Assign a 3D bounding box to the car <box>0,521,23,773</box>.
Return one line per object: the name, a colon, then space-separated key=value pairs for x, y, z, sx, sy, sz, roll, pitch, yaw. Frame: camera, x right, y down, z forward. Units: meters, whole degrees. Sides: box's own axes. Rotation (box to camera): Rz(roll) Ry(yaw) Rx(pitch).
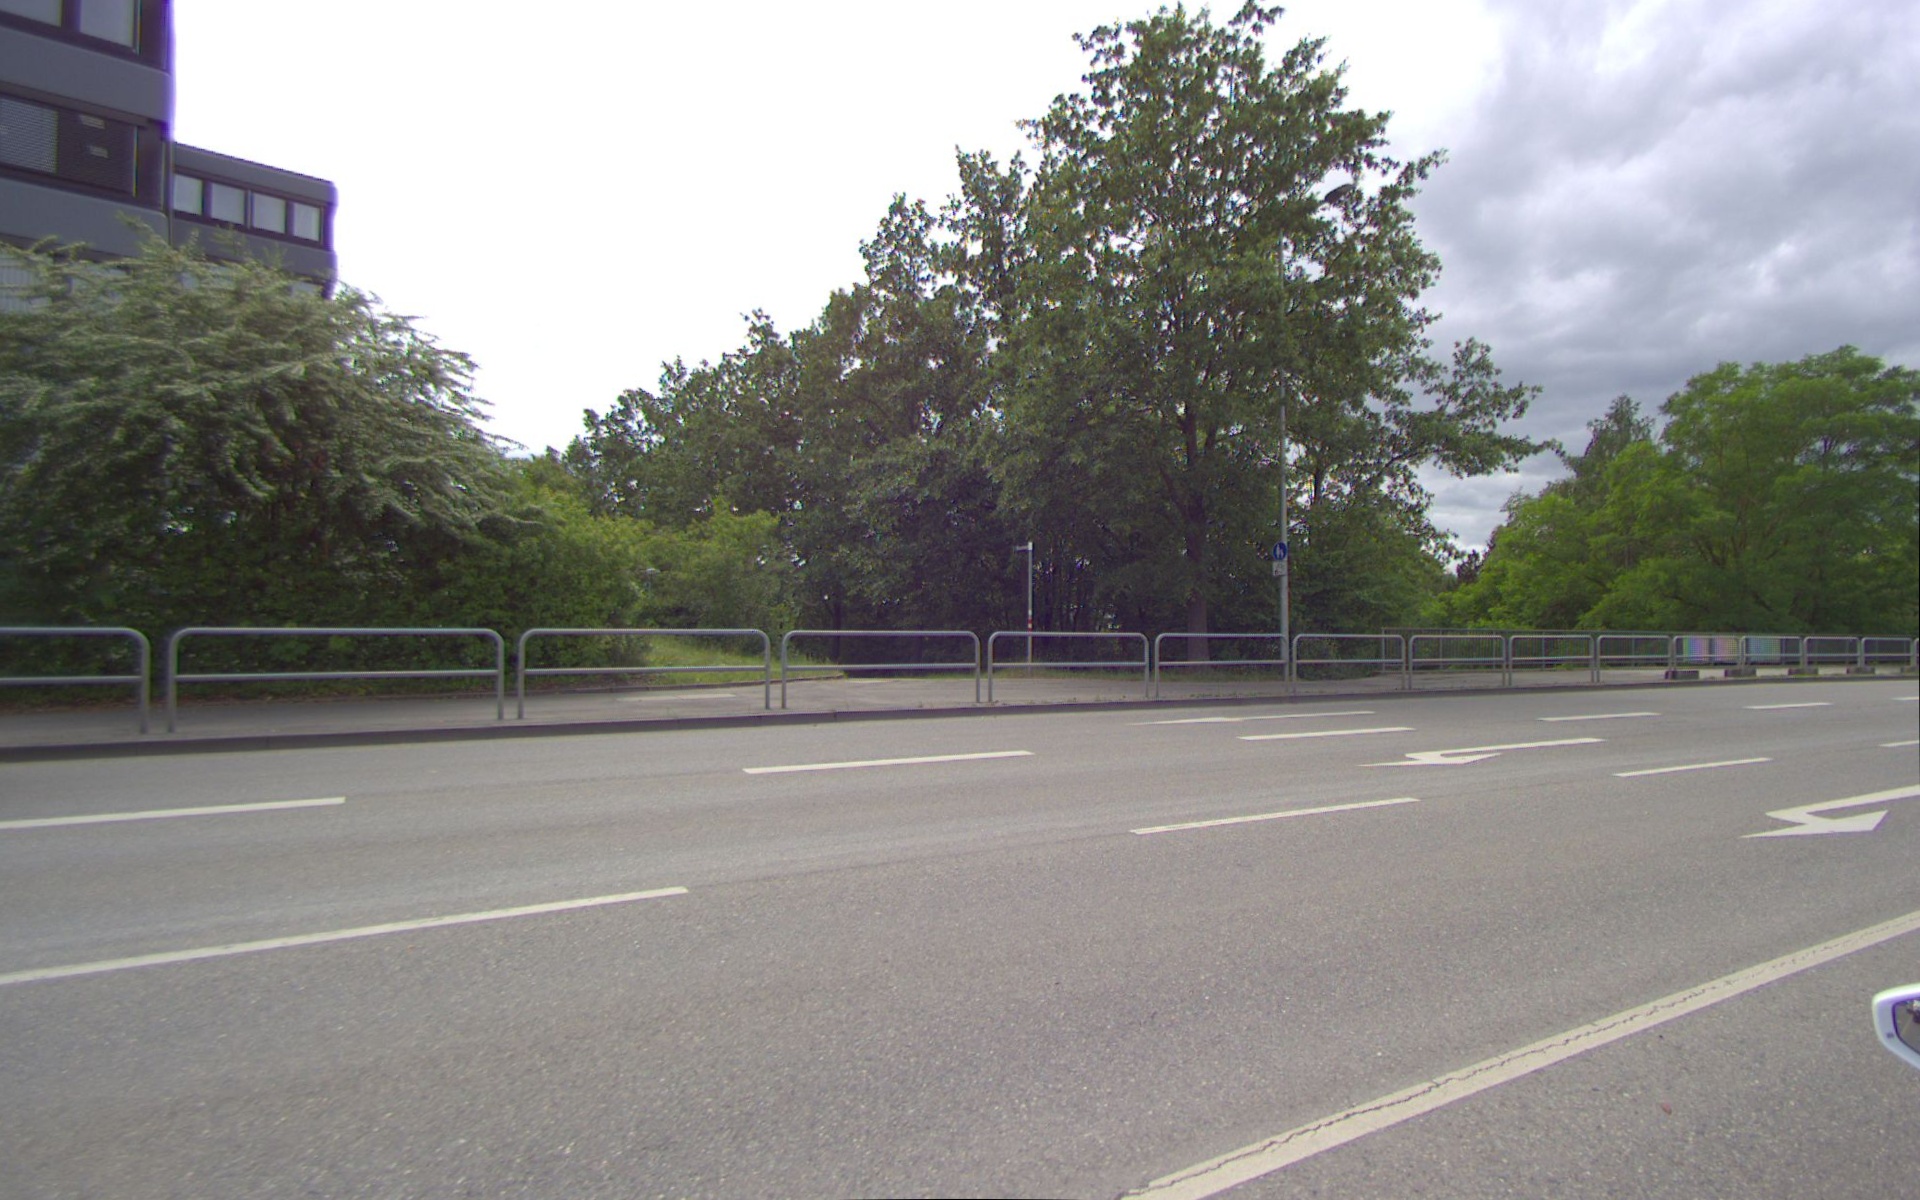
car: x=-9.553 y=0.318 z=6.087 sx=5.303 sy=1.973 sz=2.008 roll=1 pitch=-1 yaw=-31
